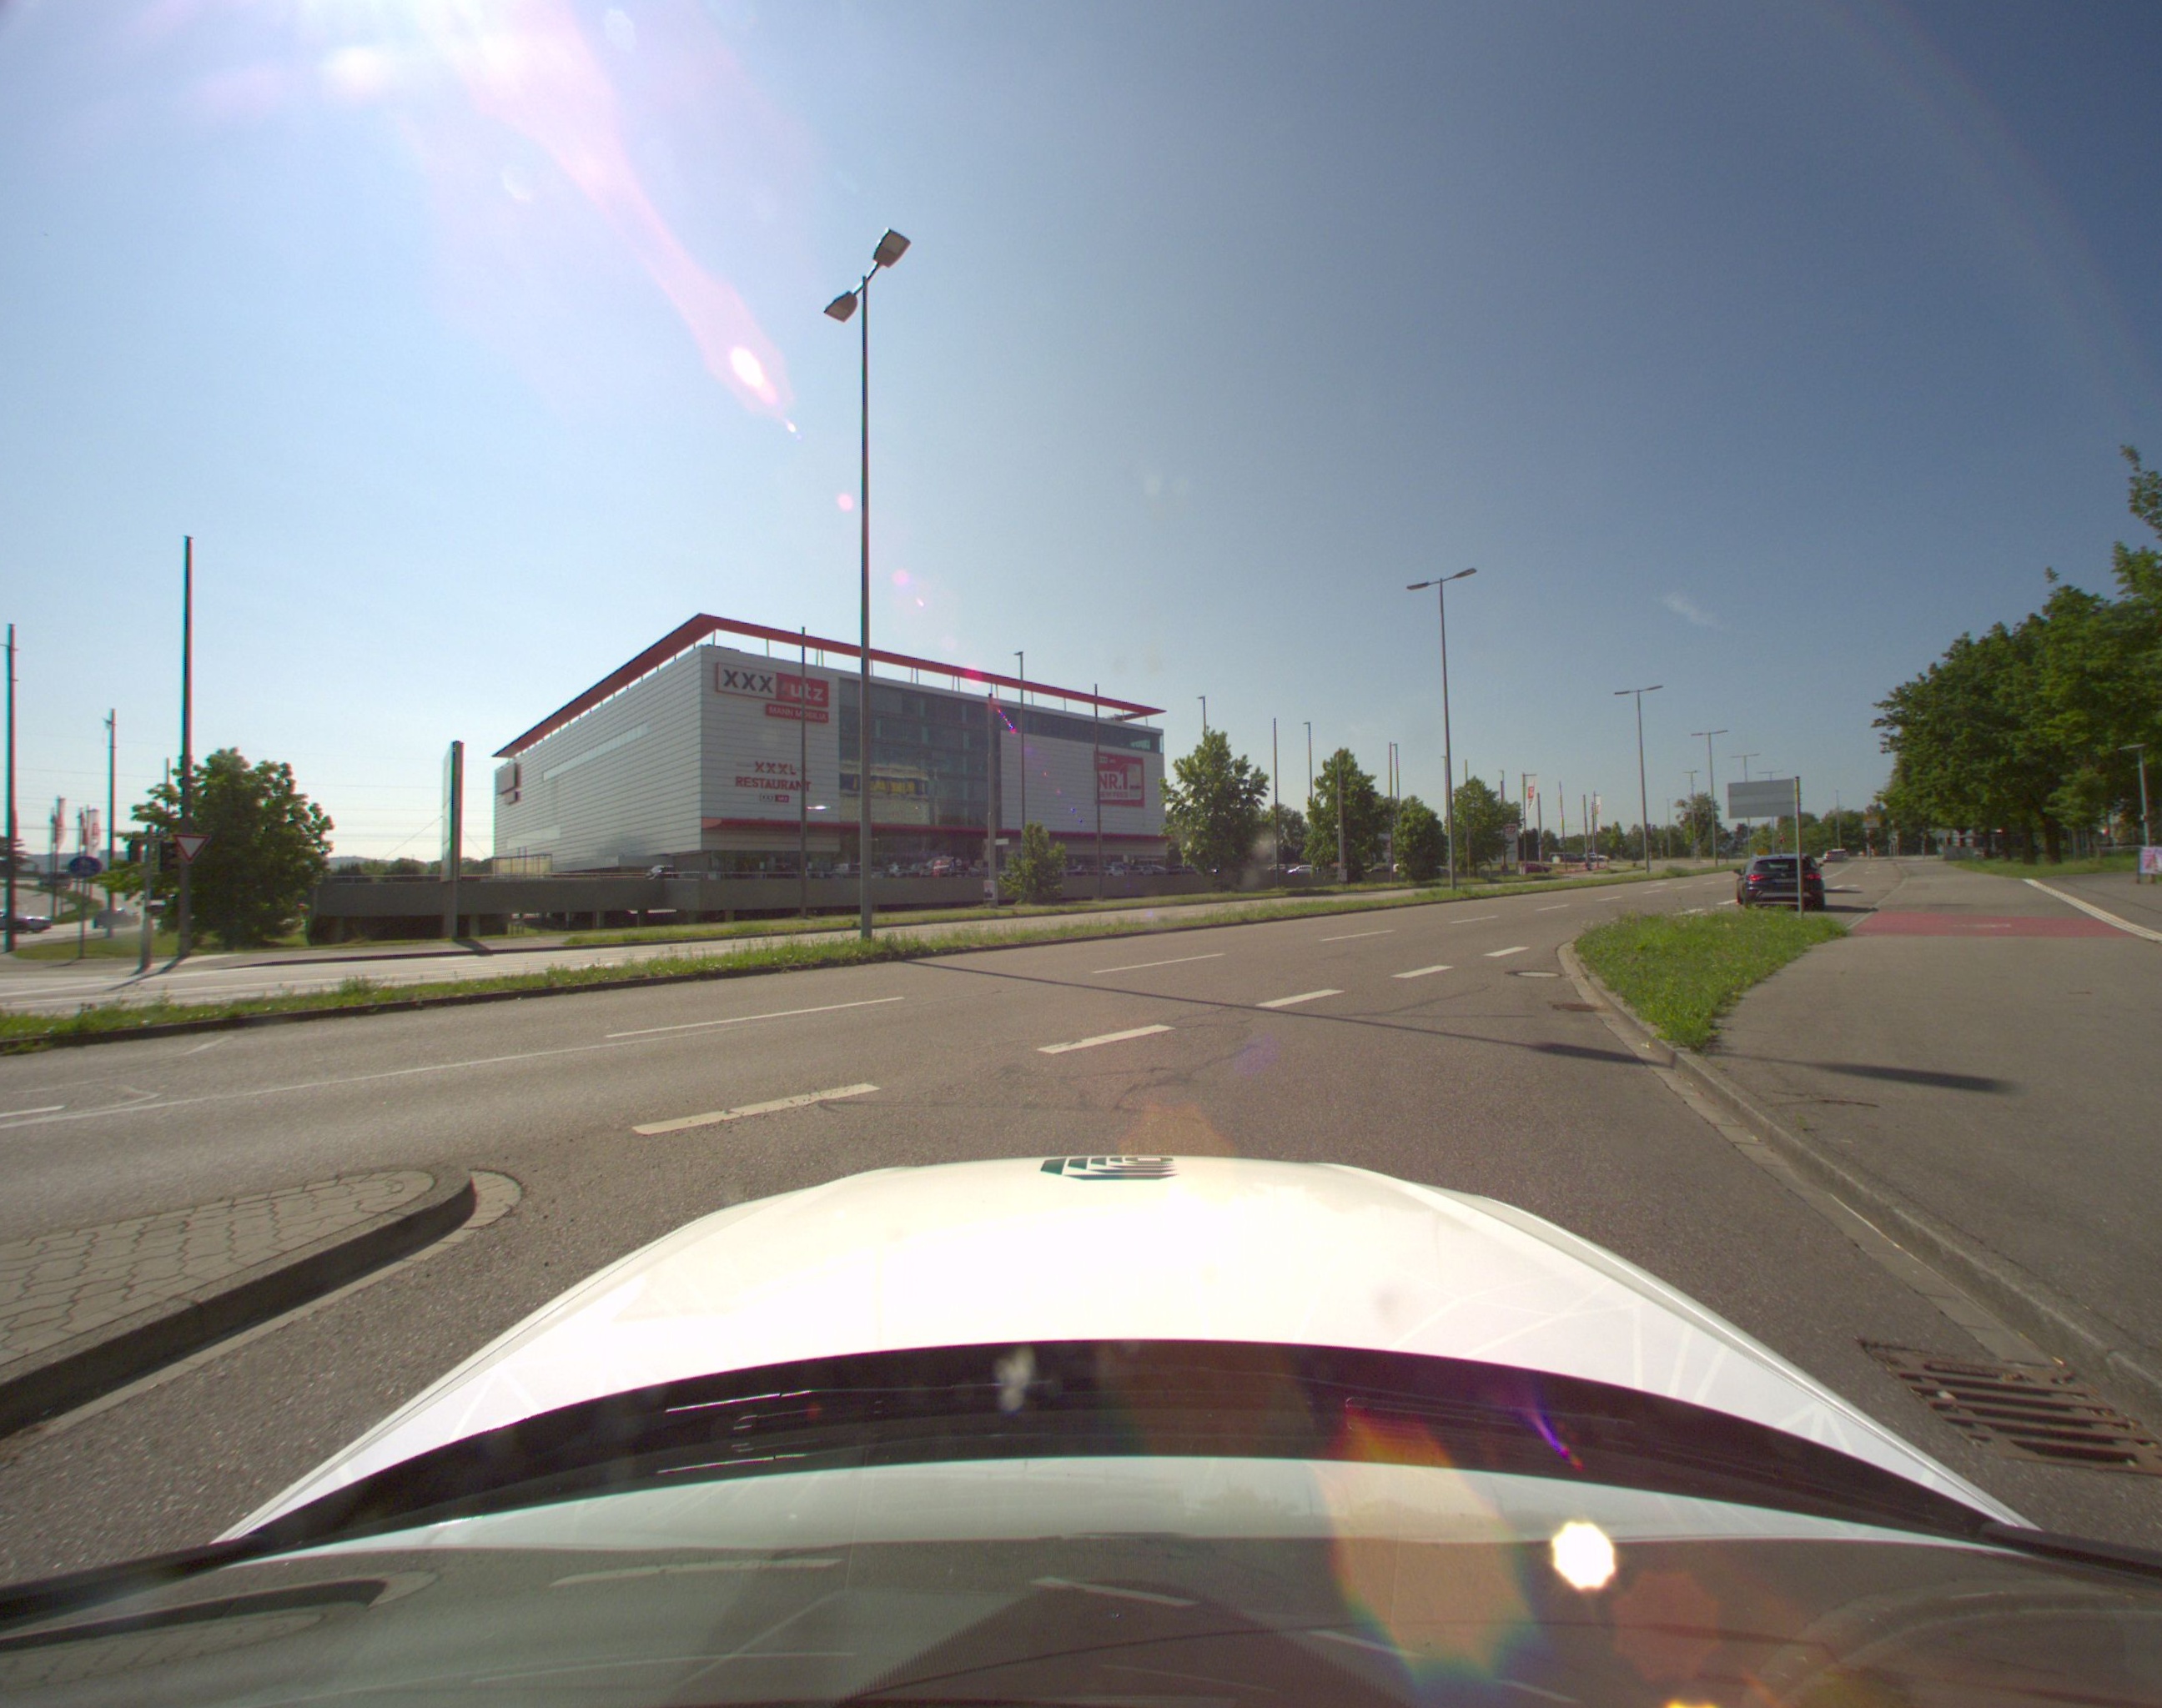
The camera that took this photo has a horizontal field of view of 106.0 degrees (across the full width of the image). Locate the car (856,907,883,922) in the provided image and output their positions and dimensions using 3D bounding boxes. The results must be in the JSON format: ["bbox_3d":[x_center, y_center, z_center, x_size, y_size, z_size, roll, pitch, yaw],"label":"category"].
[{"bbox_3d":[-14.447,4.131,55.634,1.918,0.975,0.916,-3,-3,43],"label":"car"}]

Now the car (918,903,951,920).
[{"bbox_3d":[-8.952,3.498,49.806,1.918,0.975,1.077,-3,-3,43],"label":"car"}]

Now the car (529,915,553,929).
[{"bbox_3d":[-41.285,5.168,62.260,1.918,0.975,1.077,-3,-3,43],"label":"car"}]

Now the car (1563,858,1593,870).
[{"bbox_3d":[83.495,1.604,136.721,1.818,1.925,3.969,-2,0,-23],"label":"car"}]

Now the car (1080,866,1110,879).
[{"bbox_3d":[1.540,2.056,89.411,3.058,1.330,1.524,-3,-3,44],"label":"car"}]

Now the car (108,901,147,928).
[{"bbox_3d":[-74.855,4.701,63.945,1.646,2.014,3.950,0,-2,-45],"label":"car"}]

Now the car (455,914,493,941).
[{"bbox_3d":[-25.146,3.039,33.746,1.918,0.975,0.895,-3,0,43],"label":"car"}]

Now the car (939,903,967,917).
[{"bbox_3d":[-9.505,4.157,60.351,1.918,0.975,1.077,-3,-3,43],"label":"car"}]

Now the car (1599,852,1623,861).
[{"bbox_3d":[93.176,0.394,143.148,3.311,1.500,1.418,-3,-3,41],"label":"car"}]

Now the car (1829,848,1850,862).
[{"bbox_3d":[89.787,0.126,96.366,1.690,1.573,4.199,-4,-2,43],"label":"car"}]

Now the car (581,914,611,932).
[{"bbox_3d":[-30.270,4.296,50.798,1.918,1.040,1.078,-3,-2,42],"label":"car"}]

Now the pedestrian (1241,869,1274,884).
[{"bbox_3d":[24.356,3.072,112.217,3.993,2.014,1.990,0,-2,-14],"label":"pedestrian"}]

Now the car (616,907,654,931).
[{"bbox_3d":[-20.884,3.034,38.092,1.077,1.008,1.919,0,-2,-44],"label":"car"}]

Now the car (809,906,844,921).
[{"bbox_3d":[-13.990,3.265,44.752,2.061,0.733,0.912,-3,-3,43],"label":"car"}]

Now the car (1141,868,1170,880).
[{"bbox_3d":[8.818,2.392,96.291,3.058,1.330,1.524,-3,-3,44],"label":"car"}]

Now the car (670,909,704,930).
[{"bbox_3d":[-19.162,3.179,39.624,1.824,0.975,0.871,-3,-3,43],"label":"car"}]

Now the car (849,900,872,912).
[{"bbox_3d":[-19.128,4.478,70.730,1.918,0.975,1.077,-3,-3,43],"label":"car"}]

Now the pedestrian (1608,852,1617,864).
[{"bbox_3d":[83.298,0.644,127.689,0.909,1.707,0.834,-1,-2,-33],"label":"pedestrian"}]

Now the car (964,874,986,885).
[{"bbox_3d":[-9.965,2.439,76.467,1.918,0.975,1.078,-3,-2,43],"label":"car"}]

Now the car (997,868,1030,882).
[{"bbox_3d":[-6.689,2.110,80.271,3.184,1.330,1.524,-3,-3,44],"label":"car"}]

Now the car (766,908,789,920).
[{"bbox_3d":[-24.494,4.841,65.775,1.918,0.975,0.966,-3,-3,43],"label":"car"}]

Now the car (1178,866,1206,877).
[{"bbox_3d":[13.762,2.182,101.204,3.058,1.330,1.524,-3,-3,44],"label":"car"}]

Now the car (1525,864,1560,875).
[{"bbox_3d":[67.287,2.289,118.736,4.143,1.606,1.838,-3,-3,41],"label":"car"}]

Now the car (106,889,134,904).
[{"bbox_3d":[-132.905,5.859,112.640,3.948,2.014,2.013,-3,-2,32],"label":"car"}]

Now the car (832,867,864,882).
[{"bbox_3d":[-21.078,1.884,73.578,2.983,1.330,1.524,-3,-3,44],"label":"car"}]

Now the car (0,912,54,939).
[{"bbox_3d":[-71.447,4.768,53.763,4.011,1.622,2.003,-1,-2,-29],"label":"car"}]

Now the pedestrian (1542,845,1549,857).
[{"bbox_3d":[77.115,-0.484,135.094,0.922,1.972,0.710,1,-3,-41],"label":"pedestrian"}]

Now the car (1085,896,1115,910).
[{"bbox_3d":[1.404,3.599,60.022,1.918,0.975,1.077,-3,-3,43],"label":"car"}]

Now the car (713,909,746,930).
[{"bbox_3d":[-15.680,2.904,36.283,1.487,0.882,0.797,-3,-3,43],"label":"car"}]

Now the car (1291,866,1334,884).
[{"bbox_3d":[28.755,2.657,101.110,4.625,2.014,2.042,-4,-2,42],"label":"car"}]

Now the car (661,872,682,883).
[{"bbox_3d":[-36.304,2.106,72.184,1.918,0.975,1.077,-3,-3,43],"label":"car"}]

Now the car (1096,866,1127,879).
[{"bbox_3d":[3.385,2.078,91.168,3.058,1.330,1.714,-3,-3,44],"label":"car"}]

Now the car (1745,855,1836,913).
[{"bbox_3d":[20.249,0.808,23.359,1.653,1.523,3.398,-2,-1,37],"label":"car"}]

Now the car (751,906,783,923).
[{"bbox_3d":[-19.425,3.714,50.388,1.918,0.975,1.077,-3,-3,43],"label":"car"}]

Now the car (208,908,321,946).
[{"bbox_3d":[-42.078,3.746,42.126,4.022,1.734,1.975,1,-3,-44],"label":"car"}]

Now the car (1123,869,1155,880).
[{"bbox_3d":[6.705,2.400,94.364,3.466,1.199,1.489,-3,-3,44],"label":"car"}]

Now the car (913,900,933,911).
[{"bbox_3d":[-14.900,4.880,76.678,1.918,0.975,0.927,-3,-3,43],"label":"car"}]

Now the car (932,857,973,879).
[{"bbox_3d":[-9.845,1.056,62.268,2.741,1.556,1.785,-4,-2,44],"label":"car"}]

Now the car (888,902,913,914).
[{"bbox_3d":[-14.682,4.380,66.242,1.918,0.975,1.077,-3,-3,43],"label":"car"}]

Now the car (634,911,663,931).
[{"bbox_3d":[-23.453,3.625,44.144,0.892,0.975,1.919,2,-3,-44],"label":"car"}]

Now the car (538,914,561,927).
[{"bbox_3d":[-42.655,5.309,65.377,1.918,0.975,1.077,-3,-3,43],"label":"car"}]

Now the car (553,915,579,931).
[{"bbox_3d":[-35.568,4.760,56.254,1.918,0.975,0.936,-2,-3,39],"label":"car"}]

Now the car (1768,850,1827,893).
[{"bbox_3d":[29.074,0.690,32.997,1.615,1.498,3.893,-2,1,44],"label":"car"}]

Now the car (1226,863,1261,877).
[{"bbox_3d":[12.733,1.269,63.723,2.489,1.060,1.077,-3,-3,43],"label":"car"}]

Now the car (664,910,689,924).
[{"bbox_3d":[-30.366,4.695,61.172,1.918,0.975,1.077,-3,-3,43],"label":"car"}]

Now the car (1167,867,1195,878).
[{"bbox_3d":[12.189,2.215,99.340,3.058,1.294,1.524,-3,-3,44],"label":"car"}]

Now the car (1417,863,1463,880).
[{"bbox_3d":[40.664,2.014,92.343,4.371,1.843,1.957,-3,-3,45],"label":"car"}]

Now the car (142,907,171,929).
[{"bbox_3d":[-89.981,6.193,79.325,1.593,2.014,3.950,0,-2,-45],"label":"car"}]

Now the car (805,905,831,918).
[{"bbox_3d":[-19.759,4.306,61.156,1.918,0.975,1.077,-3,-3,43],"label":"car"}]

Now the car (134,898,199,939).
[{"bbox_3d":[-54.091,3.765,48.256,2.010,2.297,3.984,1,-3,-41],"label":"car"}]

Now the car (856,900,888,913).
[{"bbox_3d":[-10.624,2.678,41.364,1.544,0.621,0.863,-3,-3,43],"label":"car"}]

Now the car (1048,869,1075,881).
[{"bbox_3d":[-2.236,2.443,92.919,3.105,1.330,1.309,-3,-3,44],"label":"car"}]

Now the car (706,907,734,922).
[{"bbox_3d":[-24.864,4.148,56.025,1.918,0.975,1.077,-3,-3,43],"label":"car"}]

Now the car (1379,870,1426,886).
[{"bbox_3d":[35.337,2.677,89.596,4.371,1.628,1.882,-3,-3,43],"label":"car"}]
